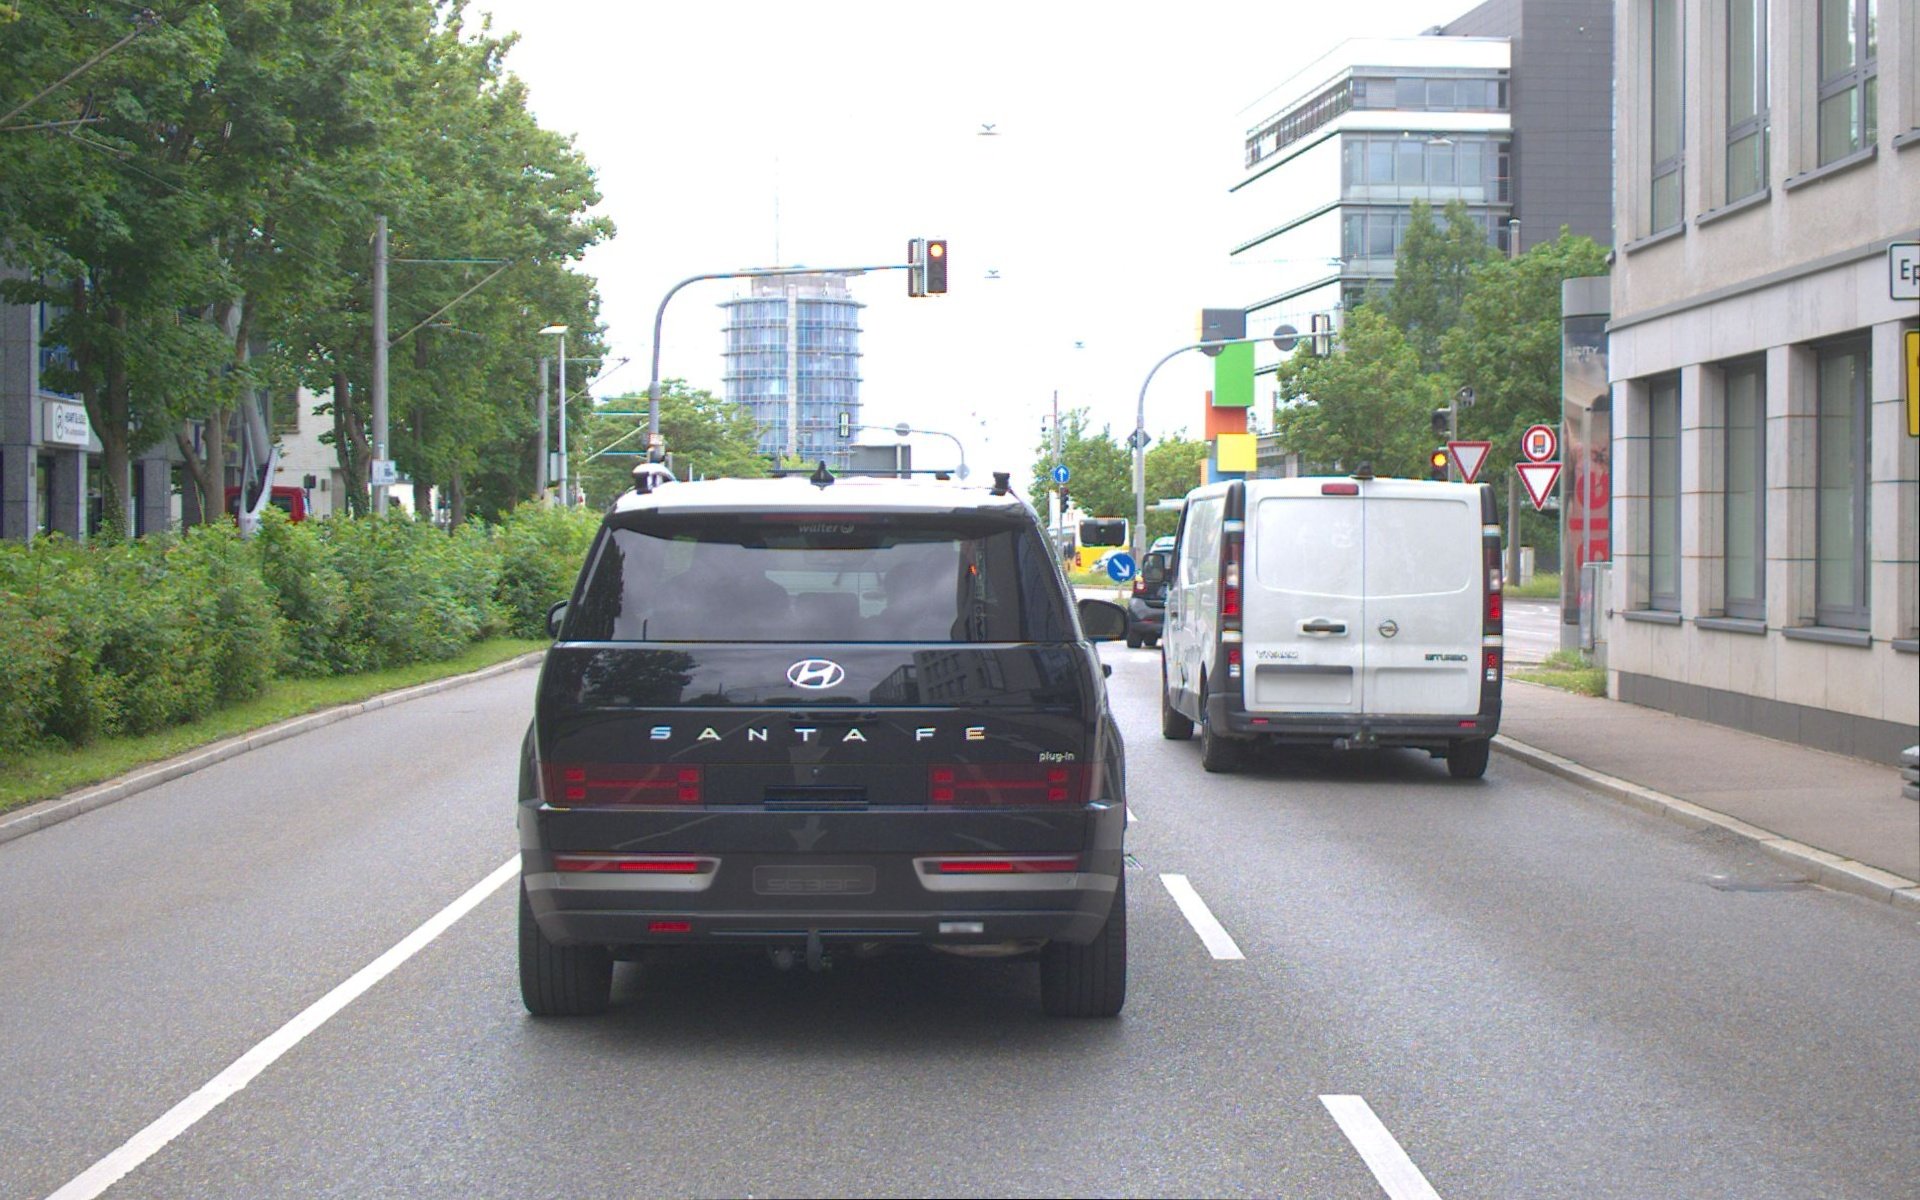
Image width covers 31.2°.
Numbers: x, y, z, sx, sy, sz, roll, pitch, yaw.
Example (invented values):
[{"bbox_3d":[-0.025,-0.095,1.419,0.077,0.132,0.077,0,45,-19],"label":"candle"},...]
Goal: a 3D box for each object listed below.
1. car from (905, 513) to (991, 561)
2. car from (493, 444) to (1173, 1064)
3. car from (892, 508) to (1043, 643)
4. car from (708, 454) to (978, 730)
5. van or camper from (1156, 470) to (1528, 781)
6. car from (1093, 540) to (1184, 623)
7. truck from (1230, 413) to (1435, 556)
[{"bbox_3d":[-0.431,-2.152,117.380,1.993,1.589,4.001,0,1,-15],"label":"car"},{"bbox_3d":[-0.498,0.414,11.916,1.908,1.743,4.397,0,1,-4],"label":"car"},{"bbox_3d":[0.075,-0.366,47.737,1.993,1.784,4.000,0,1,-1],"label":"car"},{"bbox_3d":[-1.009,-0.097,27.074,1.931,1.987,4.536,0,1,-4],"label":"car"},{"bbox_3d":[2.511,0.119,23.647,1.993,1.909,4.332,1,1,-1],"label":"van or camper"},{"bbox_3d":[3.583,-0.402,69.493,1.759,1.603,4.188,0,1,2],"label":"car"},{"bbox_3d":[7.420,-2.265,69.333,2.331,2.738,6.489,-1,1,-11],"label":"truck"}]
